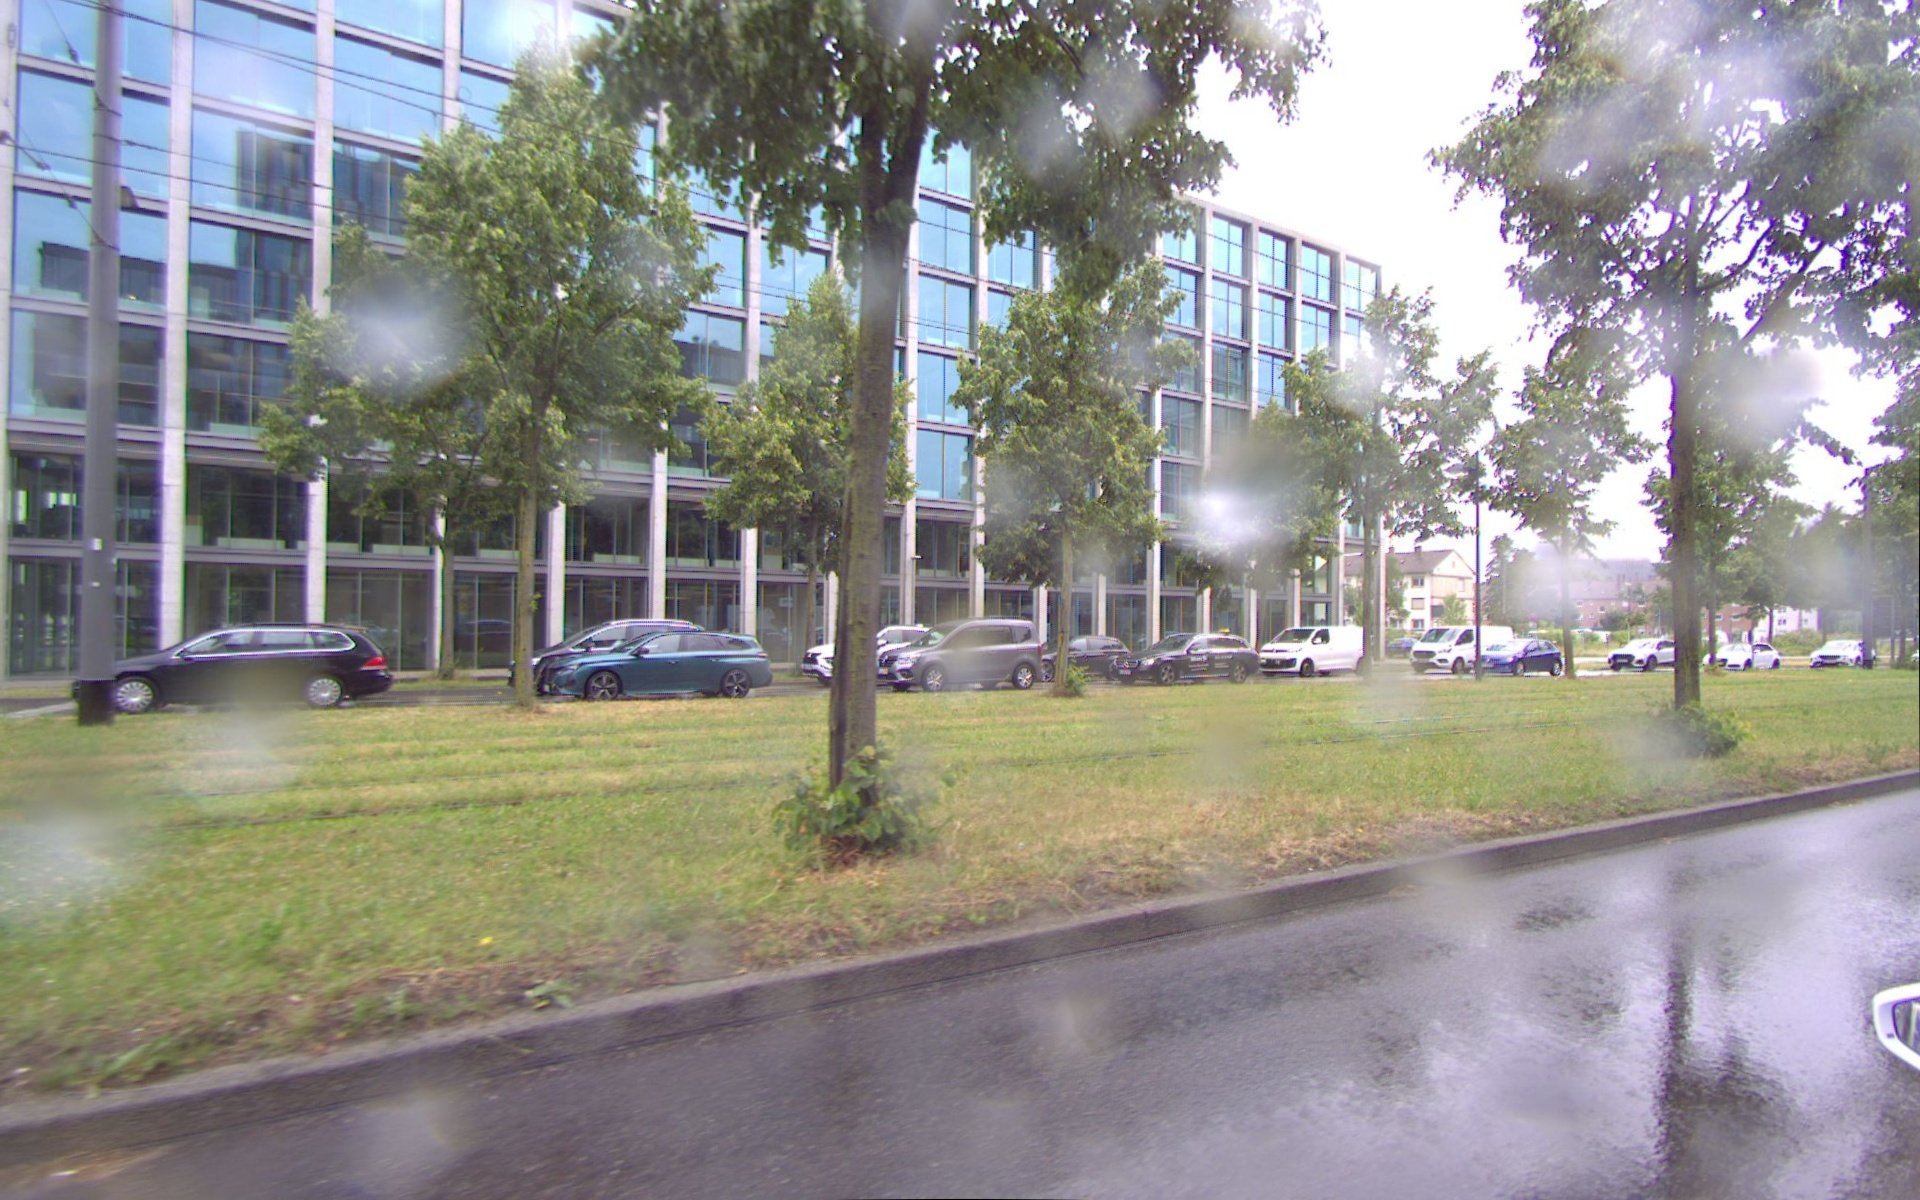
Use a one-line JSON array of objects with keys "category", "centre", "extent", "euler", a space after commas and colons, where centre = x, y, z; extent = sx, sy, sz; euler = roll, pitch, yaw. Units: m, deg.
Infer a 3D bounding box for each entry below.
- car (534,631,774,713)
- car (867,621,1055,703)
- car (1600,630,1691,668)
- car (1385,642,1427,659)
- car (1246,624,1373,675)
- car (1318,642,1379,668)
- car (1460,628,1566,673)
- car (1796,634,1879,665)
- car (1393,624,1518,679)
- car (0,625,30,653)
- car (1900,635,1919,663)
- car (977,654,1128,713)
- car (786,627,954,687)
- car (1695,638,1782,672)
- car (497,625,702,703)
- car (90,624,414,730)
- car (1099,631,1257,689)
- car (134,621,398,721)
[{"category": "car", "centre": [-6.345, 1.419, 20.969], "extent": [4.425, 1.404, 1.939], "euler": [-1, -1, -34]}, {"category": "car", "centre": [0.069, 1.497, 25.589], "extent": [4.494, 1.873, 1.940], "euler": [0, -1, -33]}, {"category": "car", "centre": [33.928, 2.389, 49.676], "extent": [4.520, 1.772, 1.942], "euler": [1, -1, -29]}, {"category": "car", "centre": [33.823, 3.822, 76.170], "extent": [3.179, 1.082, 1.181], "euler": [-1, 0, -28]}, {"category": "car", "centre": [13.209, 1.807, 37.850], "extent": [4.977, 1.674, 1.939], "euler": [-1, 0, -34]}, {"category": "car", "centre": [27.161, 3.808, 70.388], "extent": [1.722, 1.630, 3.774], "euler": [-1, 0, -28]}, {"category": "car", "centre": [21.542, 1.916, 39.125], "extent": [3.917, 1.514, 1.940], "euler": [-1, 0, -32]}, {"category": "car", "centre": [44.038, 2.466, 50.386], "extent": [4.526, 1.471, 1.940], "euler": [1, -1, -32]}, {"category": "car", "centre": [21.081, 2.127, 42.655], "extent": [5.310, 2.033, 2.257], "euler": [-1, 0, -31]}, {"category": "car", "centre": [-60.689, 2.463, 62.307], "extent": [3.943, 1.684, 1.989], "euler": [-1, 0, -23]}, {"category": "car", "centre": [57.872, 2.856, 59.396], "extent": [4.771, 1.480, 1.943], "euler": [-1, 0, -29]}, {"category": "car", "centre": [2.927, 2.535, 31.294], "extent": [4.577, 1.466, 1.847], "euler": [-1, 0, -34]}, {"category": "car", "centre": [-2.462, 1.524, 27.882], "extent": [4.228, 1.404, 1.939], "euler": [-1, 0, -34]}, {"category": "car", "centre": [37.439, 2.610, 48.290], "extent": [4.526, 1.533, 1.940], "euler": [1, -1, -32]}, {"category": "car", "centre": [-8.531, 1.447, 23.869], "extent": [4.228, 1.560, 1.939], "euler": [-1, 0, -34]}, {"category": "car", "centre": [-12.157, 1.242, 17.623], "extent": [4.415, 1.580, 1.940], "euler": [0, -1, -33]}, {"category": "car", "centre": [6.462, 1.718, 29.641], "extent": [4.554, 1.404, 1.940], "euler": [-1, 0, -33]}, {"category": "car", "centre": [-13.934, 1.350, 20.445], "extent": [4.227, 1.717, 1.939], "euler": [-1, 0, -34]}]
